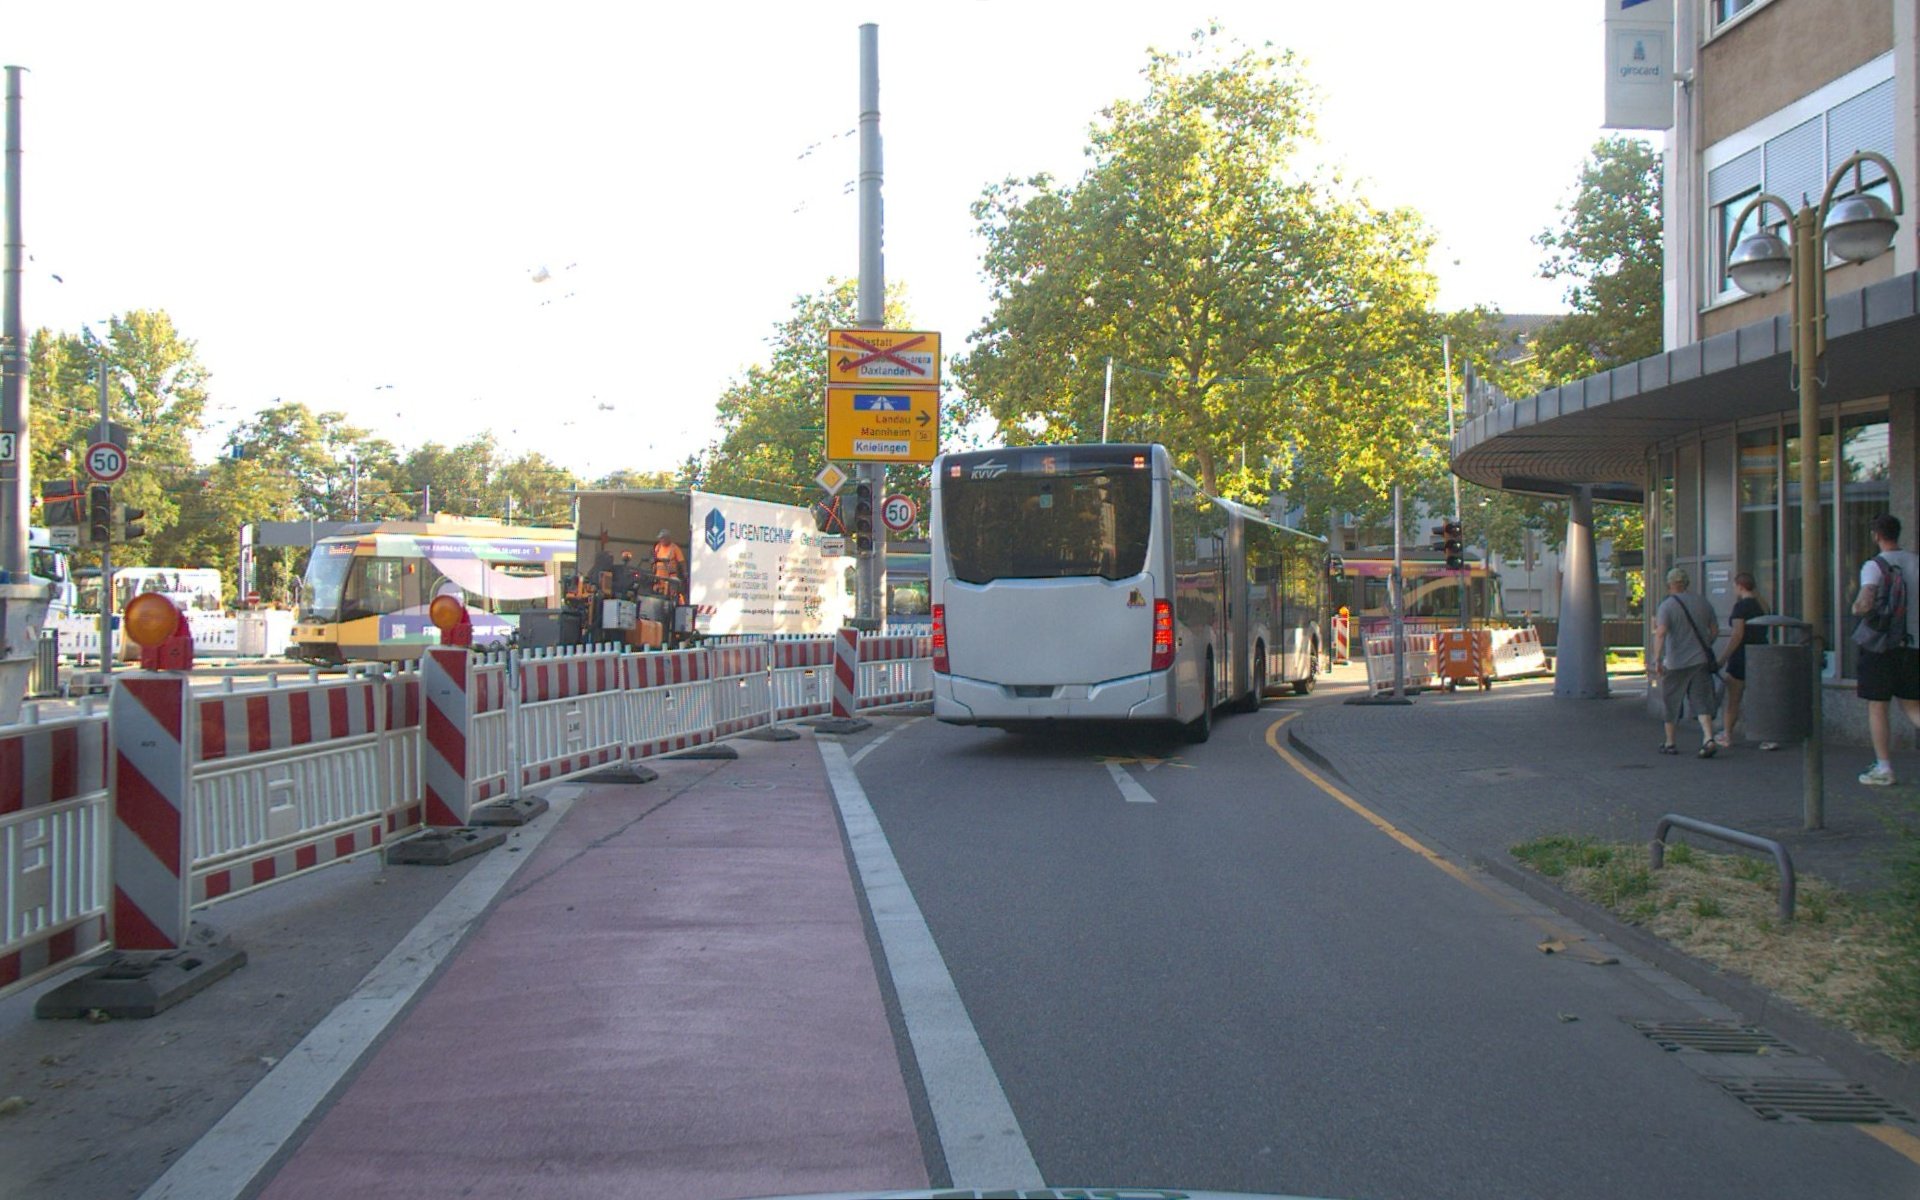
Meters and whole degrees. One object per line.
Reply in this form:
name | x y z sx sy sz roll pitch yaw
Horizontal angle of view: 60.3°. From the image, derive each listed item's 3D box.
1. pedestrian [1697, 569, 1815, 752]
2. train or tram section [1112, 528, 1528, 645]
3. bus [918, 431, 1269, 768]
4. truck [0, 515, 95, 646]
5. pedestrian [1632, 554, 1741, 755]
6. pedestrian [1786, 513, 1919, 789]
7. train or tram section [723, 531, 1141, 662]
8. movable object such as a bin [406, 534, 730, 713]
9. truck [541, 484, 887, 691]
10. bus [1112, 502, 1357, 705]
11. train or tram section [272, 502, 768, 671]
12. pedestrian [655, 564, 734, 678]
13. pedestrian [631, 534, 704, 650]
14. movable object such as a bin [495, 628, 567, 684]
pedestrian | 7.230 0.530 15.050 0.620 1.601 0.774 -2 1 -5
train or tram section | 11.562 -0.375 53.325 13.039 3.581 2.644 0 -1 -8
bus | 2.225 -0.019 21.206 2.675 3.194 10.711 1 0 14
truck | -31.023 -0.577 47.799 10.344 3.856 2.856 1 -1 -42
pedestrian | 6.553 0.478 14.942 0.571 1.738 0.678 -3 0 -5
pedestrian | 6.816 0.337 12.097 0.821 1.902 1.098 -4 0 -5
train or tram section | -0.642 -0.021 49.486 12.584 3.611 2.715 1 -1 -26
movable object such as a bin | -5.540 0.297 24.227 1.953 2.296 5.207 2 0 22
truck | -4.614 -0.216 33.582 2.755 3.603 8.981 0 0 22
bus | 5.331 0.055 30.483 2.653 3.161 8.979 0 0 21
train or tram section | -10.337 -0.189 41.456 2.801 3.595 13.347 0 -1 35
pedestrian | -4.356 0.335 27.203 0.952 1.829 1.070 0 0 12
pedestrian | -5.287 -0.150 29.955 0.917 2.048 1.001 0 1 20
movable object such as a bin | -7.337 0.947 28.337 0.914 0.933 1.419 0 0 -2
